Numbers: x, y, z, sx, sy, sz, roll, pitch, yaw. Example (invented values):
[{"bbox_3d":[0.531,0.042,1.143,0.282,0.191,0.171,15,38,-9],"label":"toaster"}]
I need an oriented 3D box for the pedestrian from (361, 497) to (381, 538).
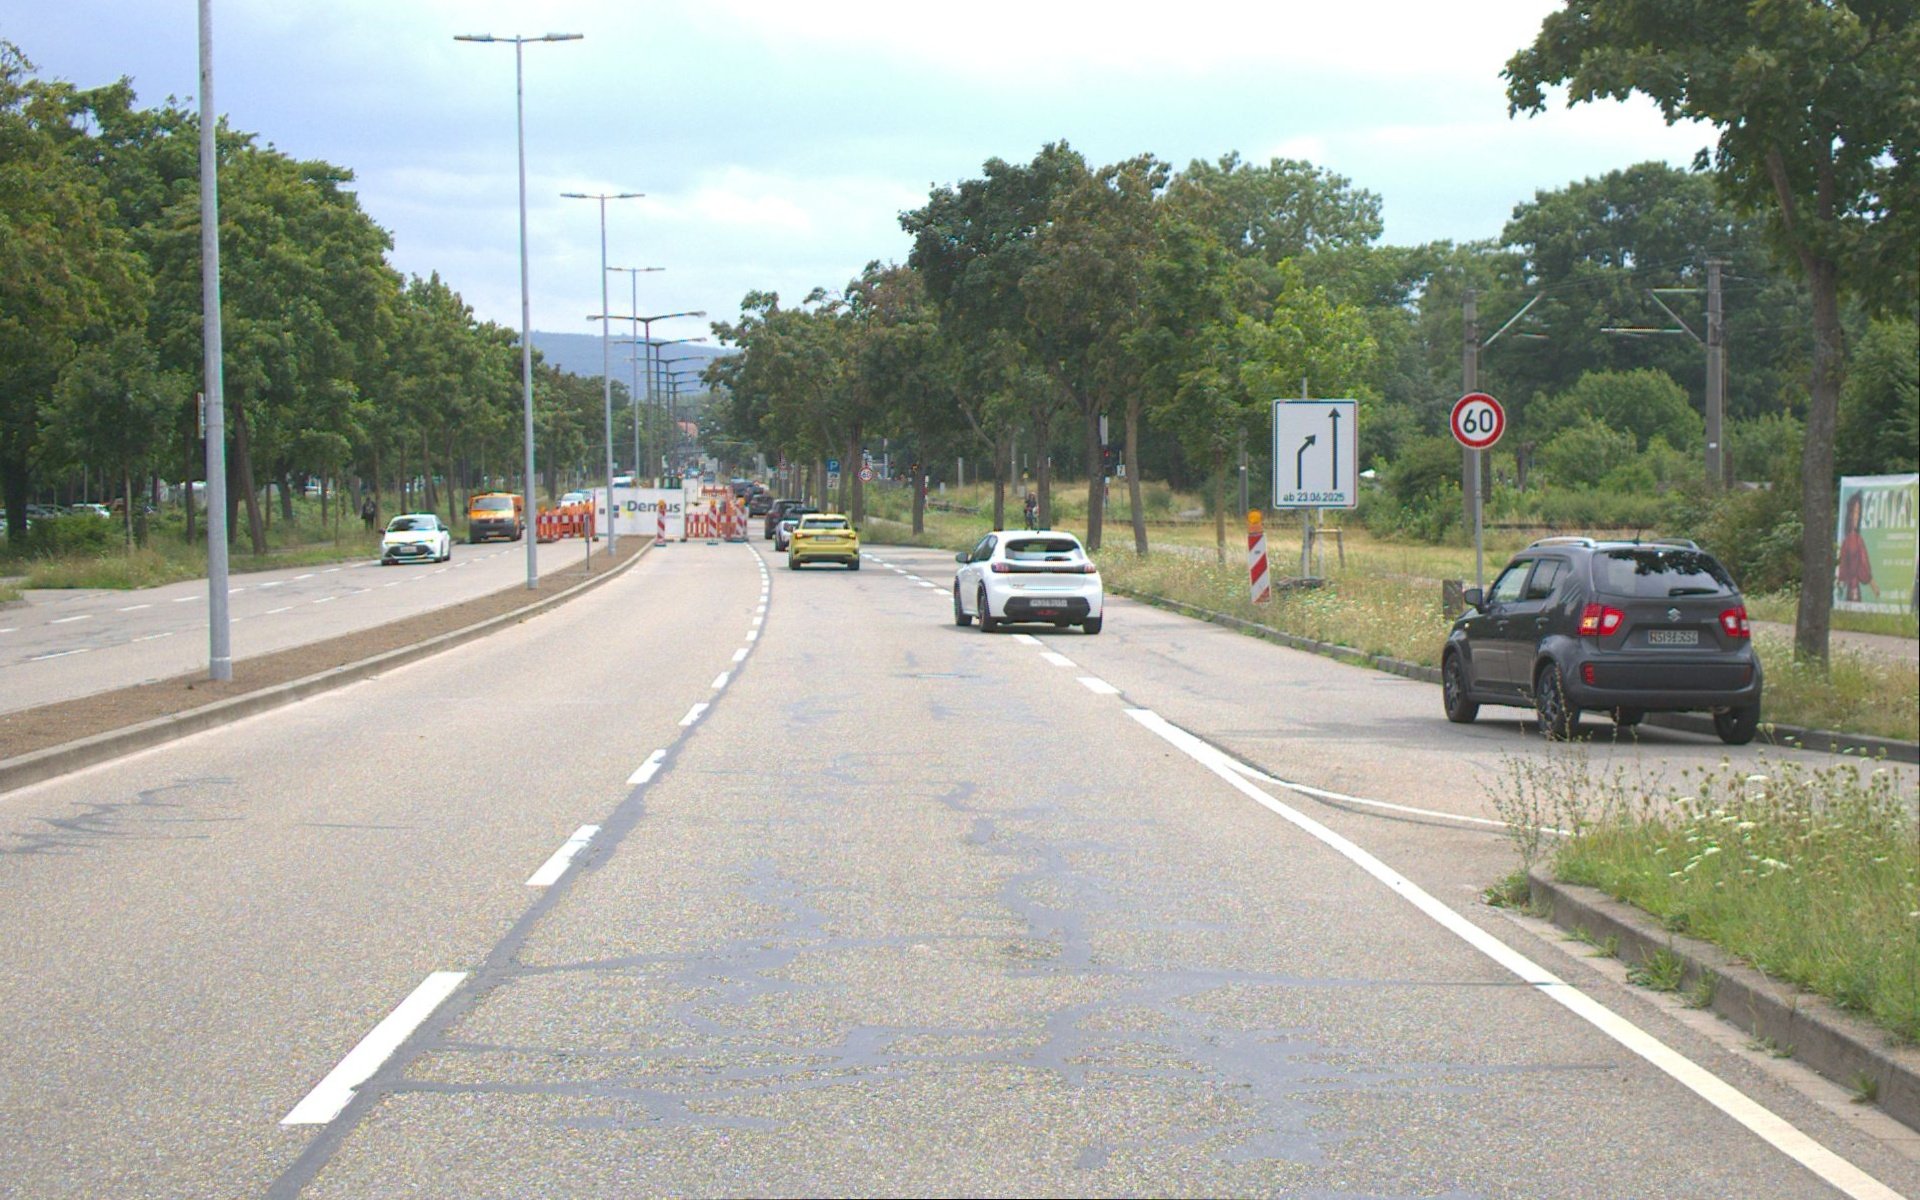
[{"bbox_3d":[-26.436,-3.707,154.266,0.690,1.832,0.651,-1,2,-25],"label":"pedestrian"}]

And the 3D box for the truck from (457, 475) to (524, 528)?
[{"bbox_3d":[-19.157,-4.045,140.493,2.088,1.987,6.040,-2,2,-2],"label":"truck"}]

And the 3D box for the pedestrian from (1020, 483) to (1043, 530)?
[{"bbox_3d":[2.601,-3.400,125.276,0.690,1.689,0.934,-1,2,-8],"label":"pedestrian"}]

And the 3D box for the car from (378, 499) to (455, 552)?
[{"bbox_3d":[-15.986,-2.213,101.281,1.716,1.415,4.160,-2,2,-2],"label":"car"}]

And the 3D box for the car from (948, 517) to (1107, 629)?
[{"bbox_3d":[0.935,-0.423,49.588,1.766,1.459,4.001,-1,2,-7],"label":"car"}]

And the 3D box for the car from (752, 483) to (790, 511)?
[{"bbox_3d":[-11.735,-6.381,213.658,2.206,1.678,4.001,0,2,-1],"label":"car"}]

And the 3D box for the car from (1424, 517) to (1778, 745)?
[{"bbox_3d":[5.127,0.193,28.038,1.703,1.662,4.001,0,2,-7],"label":"car"}]

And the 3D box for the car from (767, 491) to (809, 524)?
[{"bbox_3d":[-6.955,-3.763,139.248,1.667,1.265,4.001,0,2,-2],"label":"car"}]

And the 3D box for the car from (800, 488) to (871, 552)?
[{"bbox_3d":[-3.222,-2.095,89.299,1.793,1.556,4.001,0,2,-2],"label":"car"}]

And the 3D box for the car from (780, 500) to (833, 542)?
[{"bbox_3d":[-4.878,-2.535,109.678,1.667,1.265,4.001,0,2,-2],"label":"car"}]
